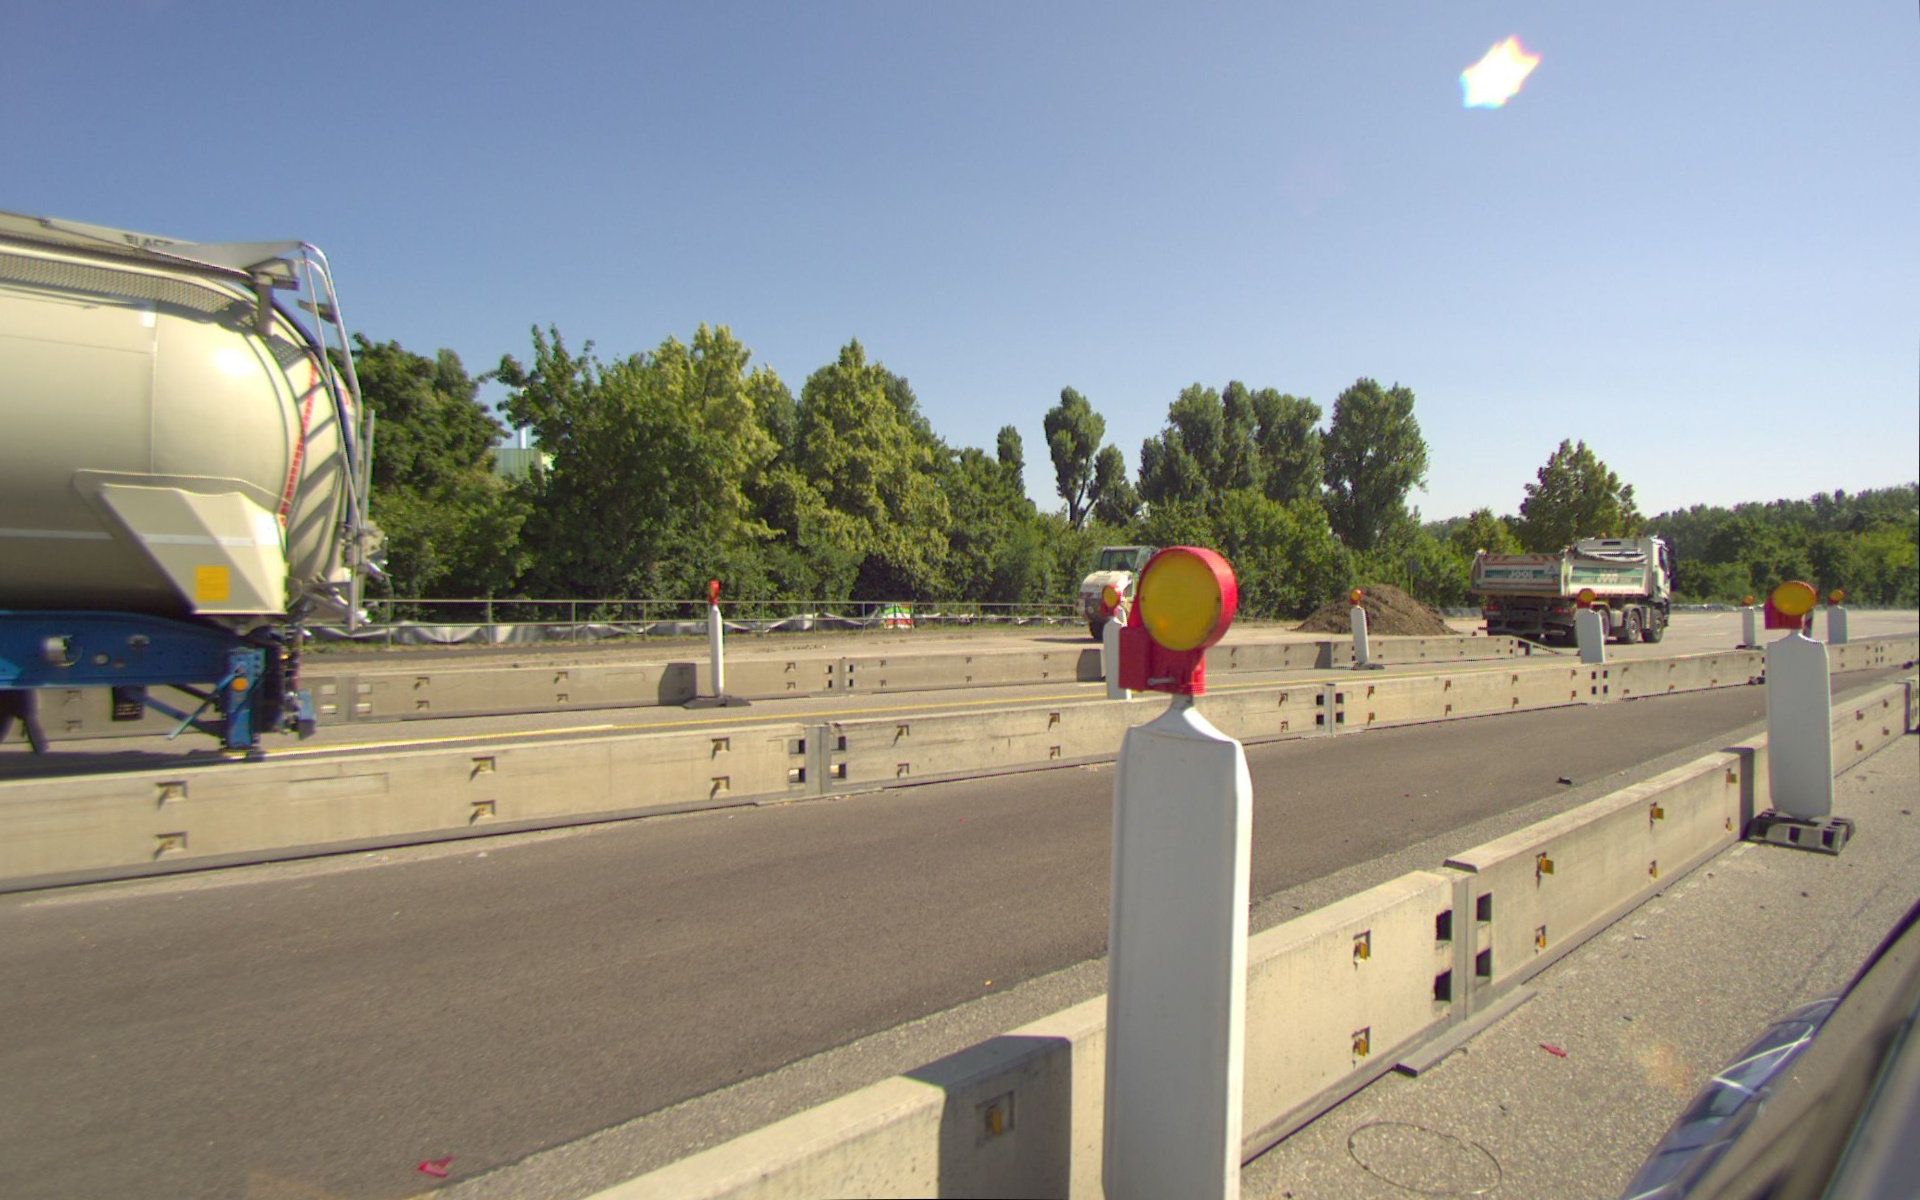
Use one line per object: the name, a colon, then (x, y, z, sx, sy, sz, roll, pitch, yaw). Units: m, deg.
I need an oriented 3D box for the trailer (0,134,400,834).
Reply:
trailer: (-9.853, -0.699, 4.836, 12.374, 4.188, 2.703, 0, 1, -35)

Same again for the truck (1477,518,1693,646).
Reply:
truck: (19.316, -0.549, 31.018, 8.572, 3.475, 2.607, 0, 2, -37)

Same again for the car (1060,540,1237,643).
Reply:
car: (5.558, -0.282, 29.206, 2.105, 2.675, 5.889, 2, 2, 45)

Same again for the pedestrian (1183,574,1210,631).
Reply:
pedestrian: (7.492, 0.072, 32.040, 0.523, 1.770, 0.665, 0, 0, -44)
